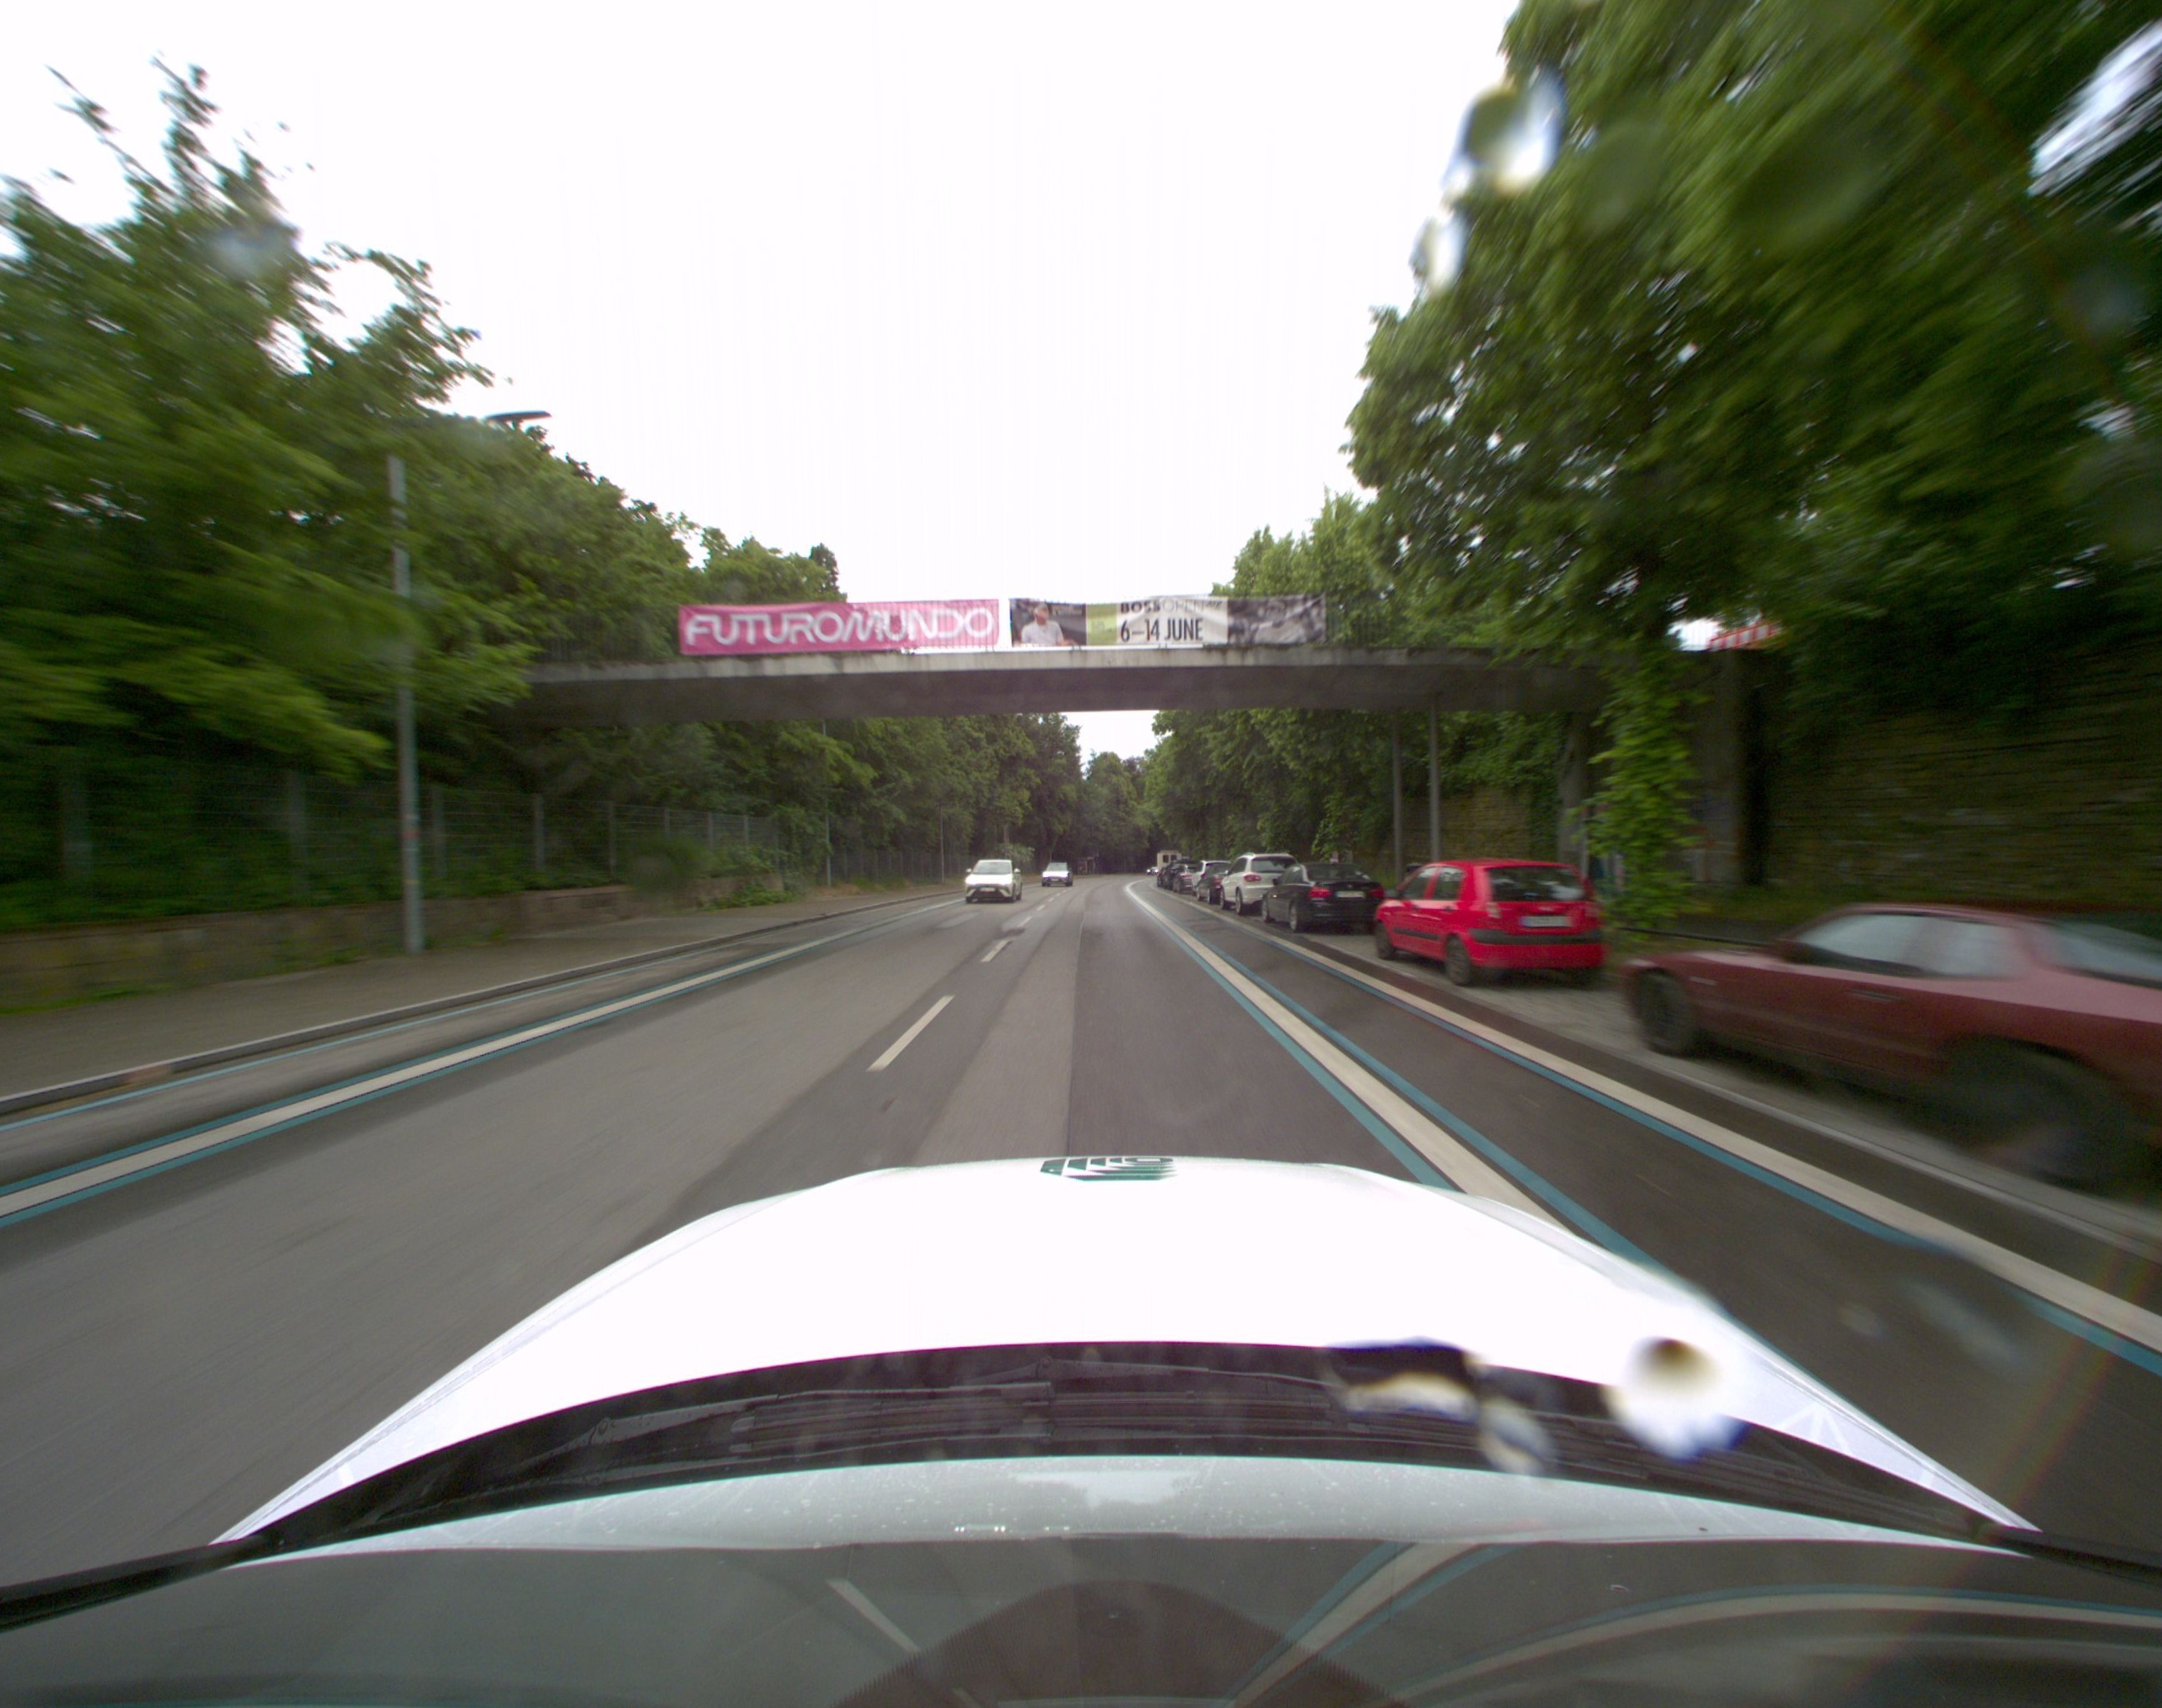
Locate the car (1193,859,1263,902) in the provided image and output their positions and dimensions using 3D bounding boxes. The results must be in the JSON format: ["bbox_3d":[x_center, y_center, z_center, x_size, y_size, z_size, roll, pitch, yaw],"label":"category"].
[{"bbox_3d":[5.150,0.958,29.105,1.712,1.376,4.558,-1,-2,0],"label":"car"}]

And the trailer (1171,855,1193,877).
[{"bbox_3d":[12.289,1.476,98.854,2.301,2.672,5.392,0,-1,11],"label":"trailer"}]

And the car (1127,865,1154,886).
[{"bbox_3d":[3.903,1.433,53.842,1.671,1.376,4.002,-1,-2,3],"label":"car"}]

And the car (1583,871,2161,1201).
[{"bbox_3d":[5.184,0.782,5.009,1.620,1.190,4.183,-1,1,0],"label":"car"}]

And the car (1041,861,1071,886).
[{"bbox_3d":[-1.654,1.330,55.597,1.789,1.577,4.103,-1,-1,2],"label":"car"}]

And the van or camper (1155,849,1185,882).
[{"bbox_3d":[7.715,1.000,70.102,2.304,2.665,6.396,0,-1,8],"label":"van or camper"}]

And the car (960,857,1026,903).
[{"bbox_3d":[-3.172,0.914,30.061,1.965,1.552,3.870,-1,0,0],"label":"car"}]

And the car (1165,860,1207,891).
[{"bbox_3d":[5.866,1.247,46.049,1.985,1.645,4.350,-1,-2,3],"label":"car"}]

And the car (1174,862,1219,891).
[{"bbox_3d":[5.484,1.080,39.151,1.767,1.348,4.469,0,-1,3],"label":"car"}]

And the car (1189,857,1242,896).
[{"bbox_3d":[5.588,0.941,34.161,1.655,1.535,3.742,0,-1,1],"label":"car"}]

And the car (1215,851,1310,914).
[{"bbox_3d":[5.037,0.770,23.134,1.708,1.619,4.259,-1,-1,-1],"label":"car"}]

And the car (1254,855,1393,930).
[{"bbox_3d":[5.033,0.784,17.535,1.667,1.393,4.449,-1,-1,0],"label":"car"}]

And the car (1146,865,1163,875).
[{"bbox_3d":[11.746,2.546,129.918,1.746,1.437,4.170,-1,-1,18],"label":"car"}]

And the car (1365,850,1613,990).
[{"bbox_3d":[5.128,0.720,10.787,1.553,1.466,3.627,-1,1,1],"label":"car"}]
